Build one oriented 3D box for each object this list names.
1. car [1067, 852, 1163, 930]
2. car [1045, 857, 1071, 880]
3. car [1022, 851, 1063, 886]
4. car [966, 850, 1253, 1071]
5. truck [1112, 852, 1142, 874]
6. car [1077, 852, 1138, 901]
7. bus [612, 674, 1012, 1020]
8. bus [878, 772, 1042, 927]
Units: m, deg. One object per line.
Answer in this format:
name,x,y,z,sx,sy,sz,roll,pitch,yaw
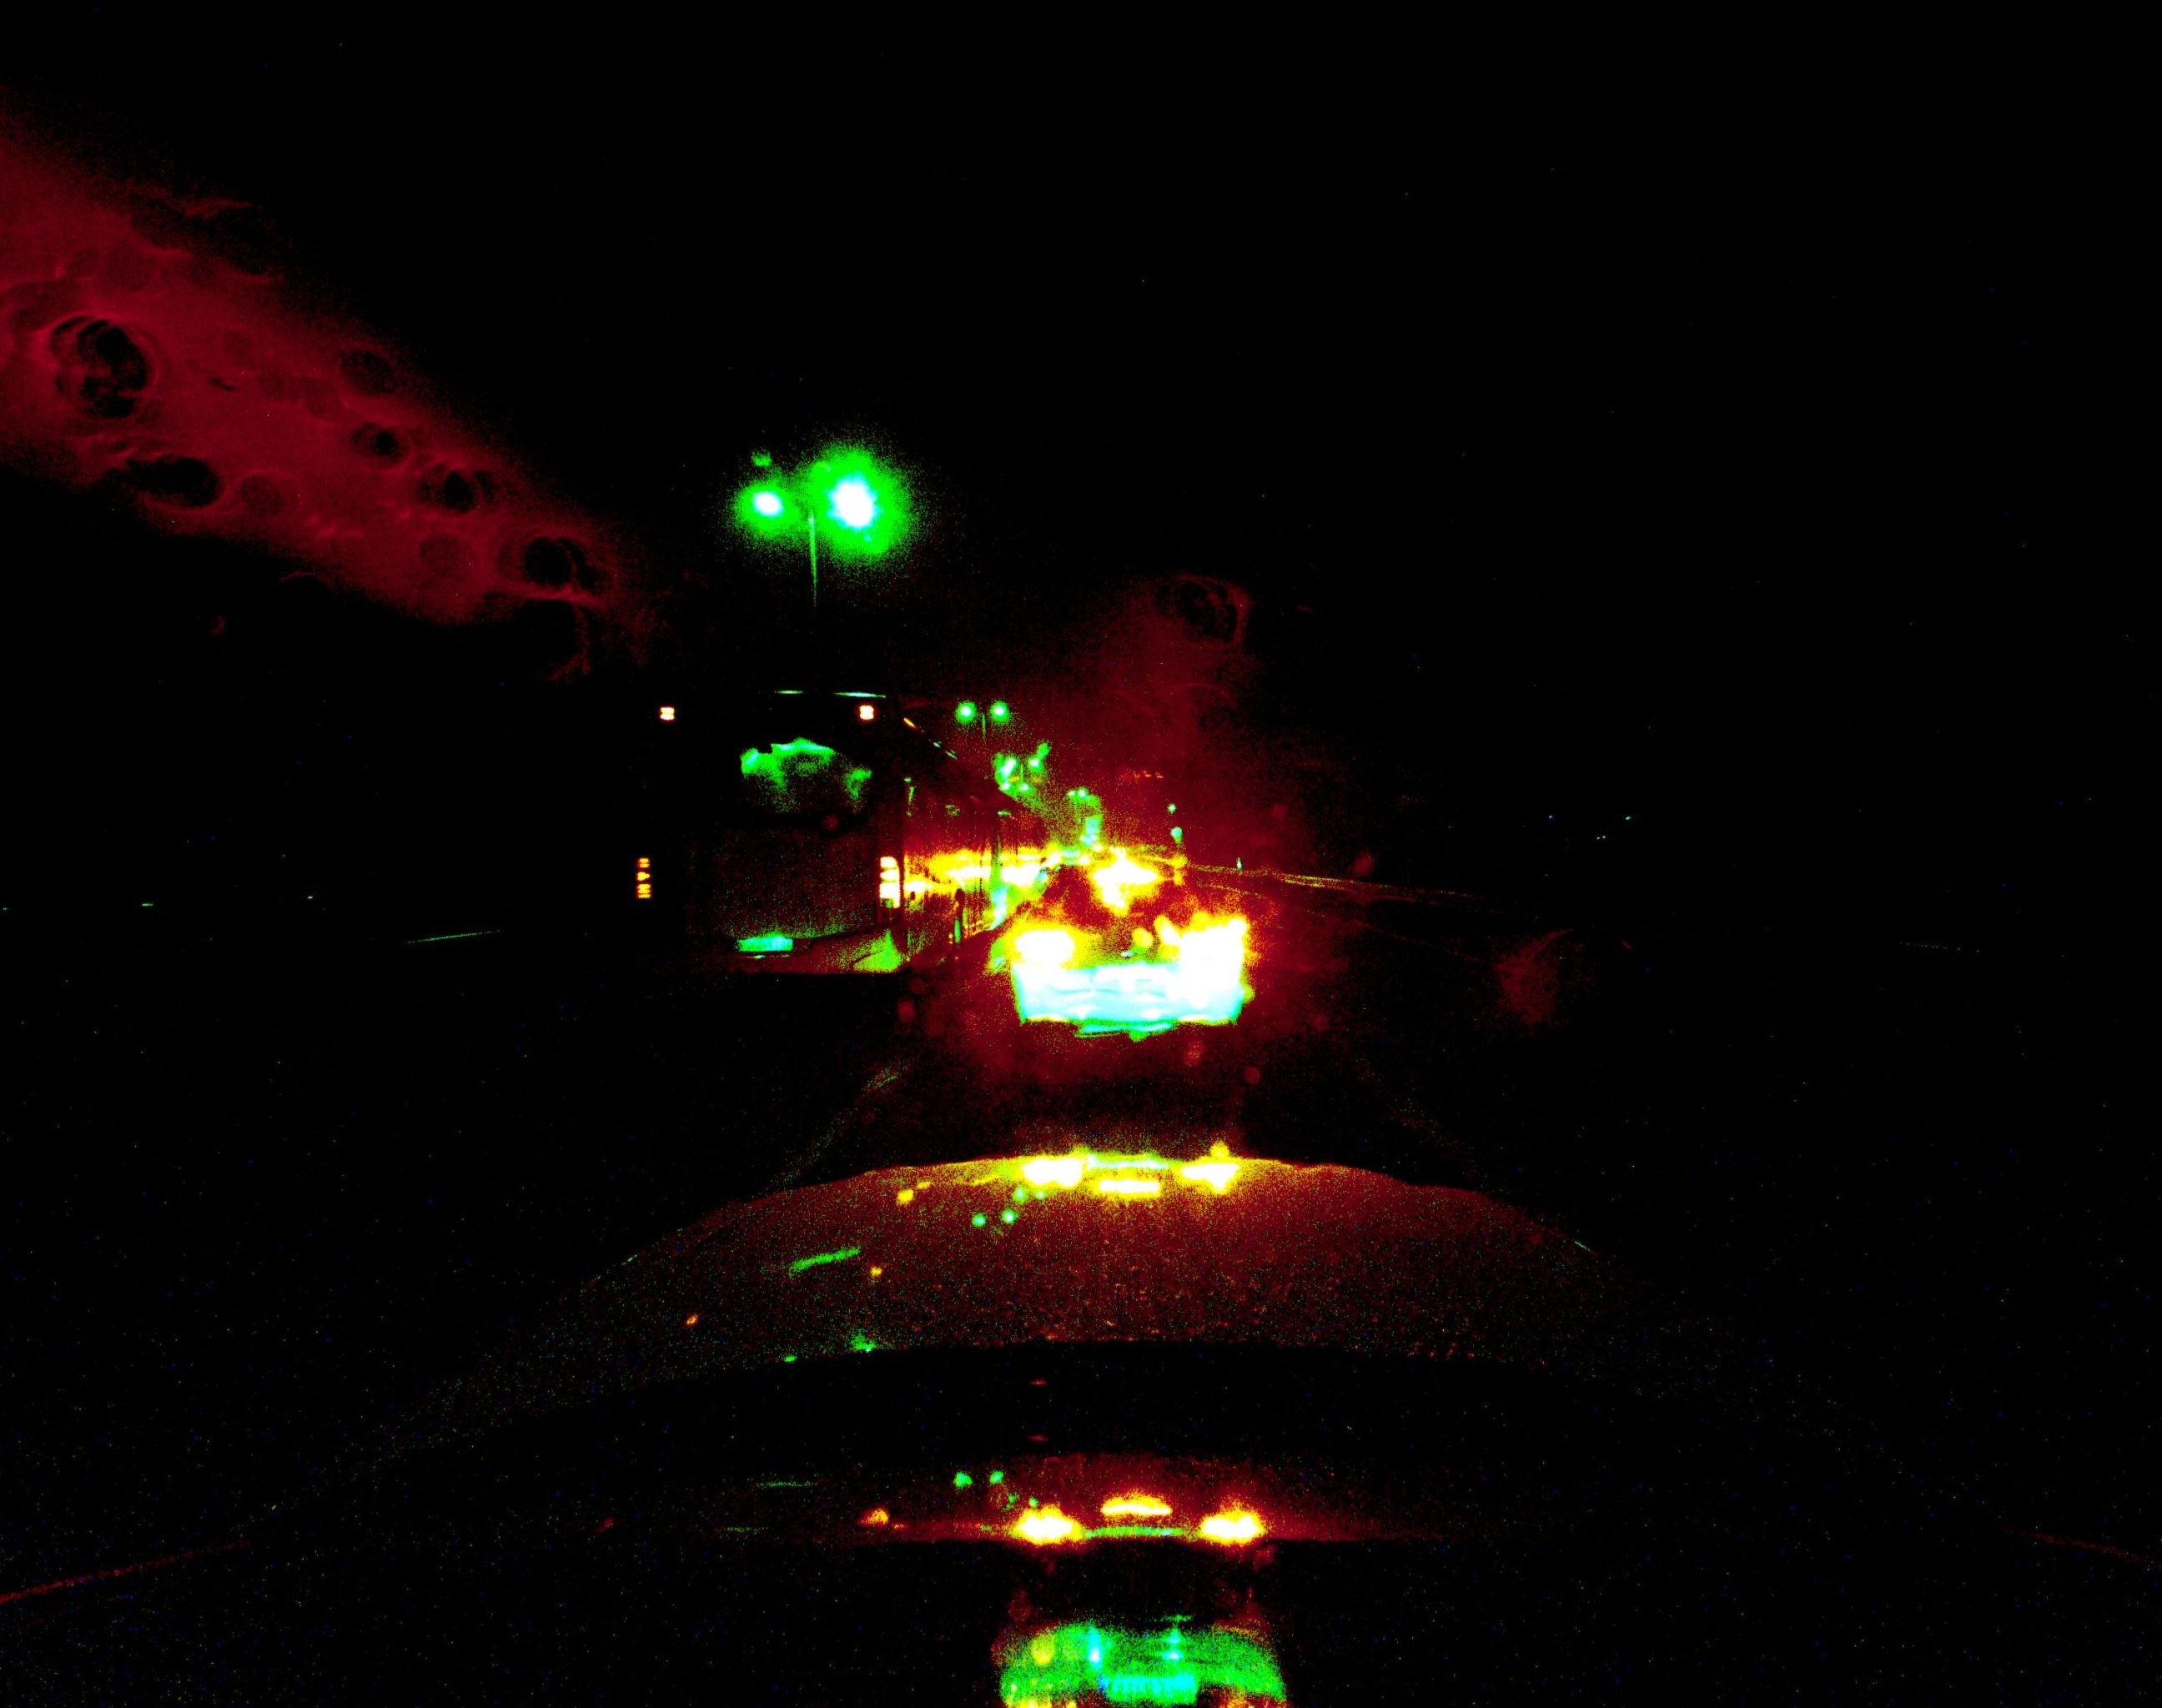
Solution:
car,0.705,0.720,17.455,1.815,1.461,3.717,-1,0,2
car,-1.525,1.007,55.141,1.552,1.487,3.810,1,-1,2
car,-1.706,0.671,37.366,1.552,1.487,3.810,1,-1,2
car,0.290,0.741,7.404,1.936,1.491,3.719,-1,0,3
truck,5.621,1.163,99.065,3.052,2.528,7.181,0,-1,8
car,0.848,0.693,26.402,1.815,1.461,3.717,-1,0,2
bus,-2.839,-0.088,12.022,2.734,3.123,9.201,1,0,0
bus,-2.677,-0.116,20.936,2.734,3.123,8.705,1,0,1
